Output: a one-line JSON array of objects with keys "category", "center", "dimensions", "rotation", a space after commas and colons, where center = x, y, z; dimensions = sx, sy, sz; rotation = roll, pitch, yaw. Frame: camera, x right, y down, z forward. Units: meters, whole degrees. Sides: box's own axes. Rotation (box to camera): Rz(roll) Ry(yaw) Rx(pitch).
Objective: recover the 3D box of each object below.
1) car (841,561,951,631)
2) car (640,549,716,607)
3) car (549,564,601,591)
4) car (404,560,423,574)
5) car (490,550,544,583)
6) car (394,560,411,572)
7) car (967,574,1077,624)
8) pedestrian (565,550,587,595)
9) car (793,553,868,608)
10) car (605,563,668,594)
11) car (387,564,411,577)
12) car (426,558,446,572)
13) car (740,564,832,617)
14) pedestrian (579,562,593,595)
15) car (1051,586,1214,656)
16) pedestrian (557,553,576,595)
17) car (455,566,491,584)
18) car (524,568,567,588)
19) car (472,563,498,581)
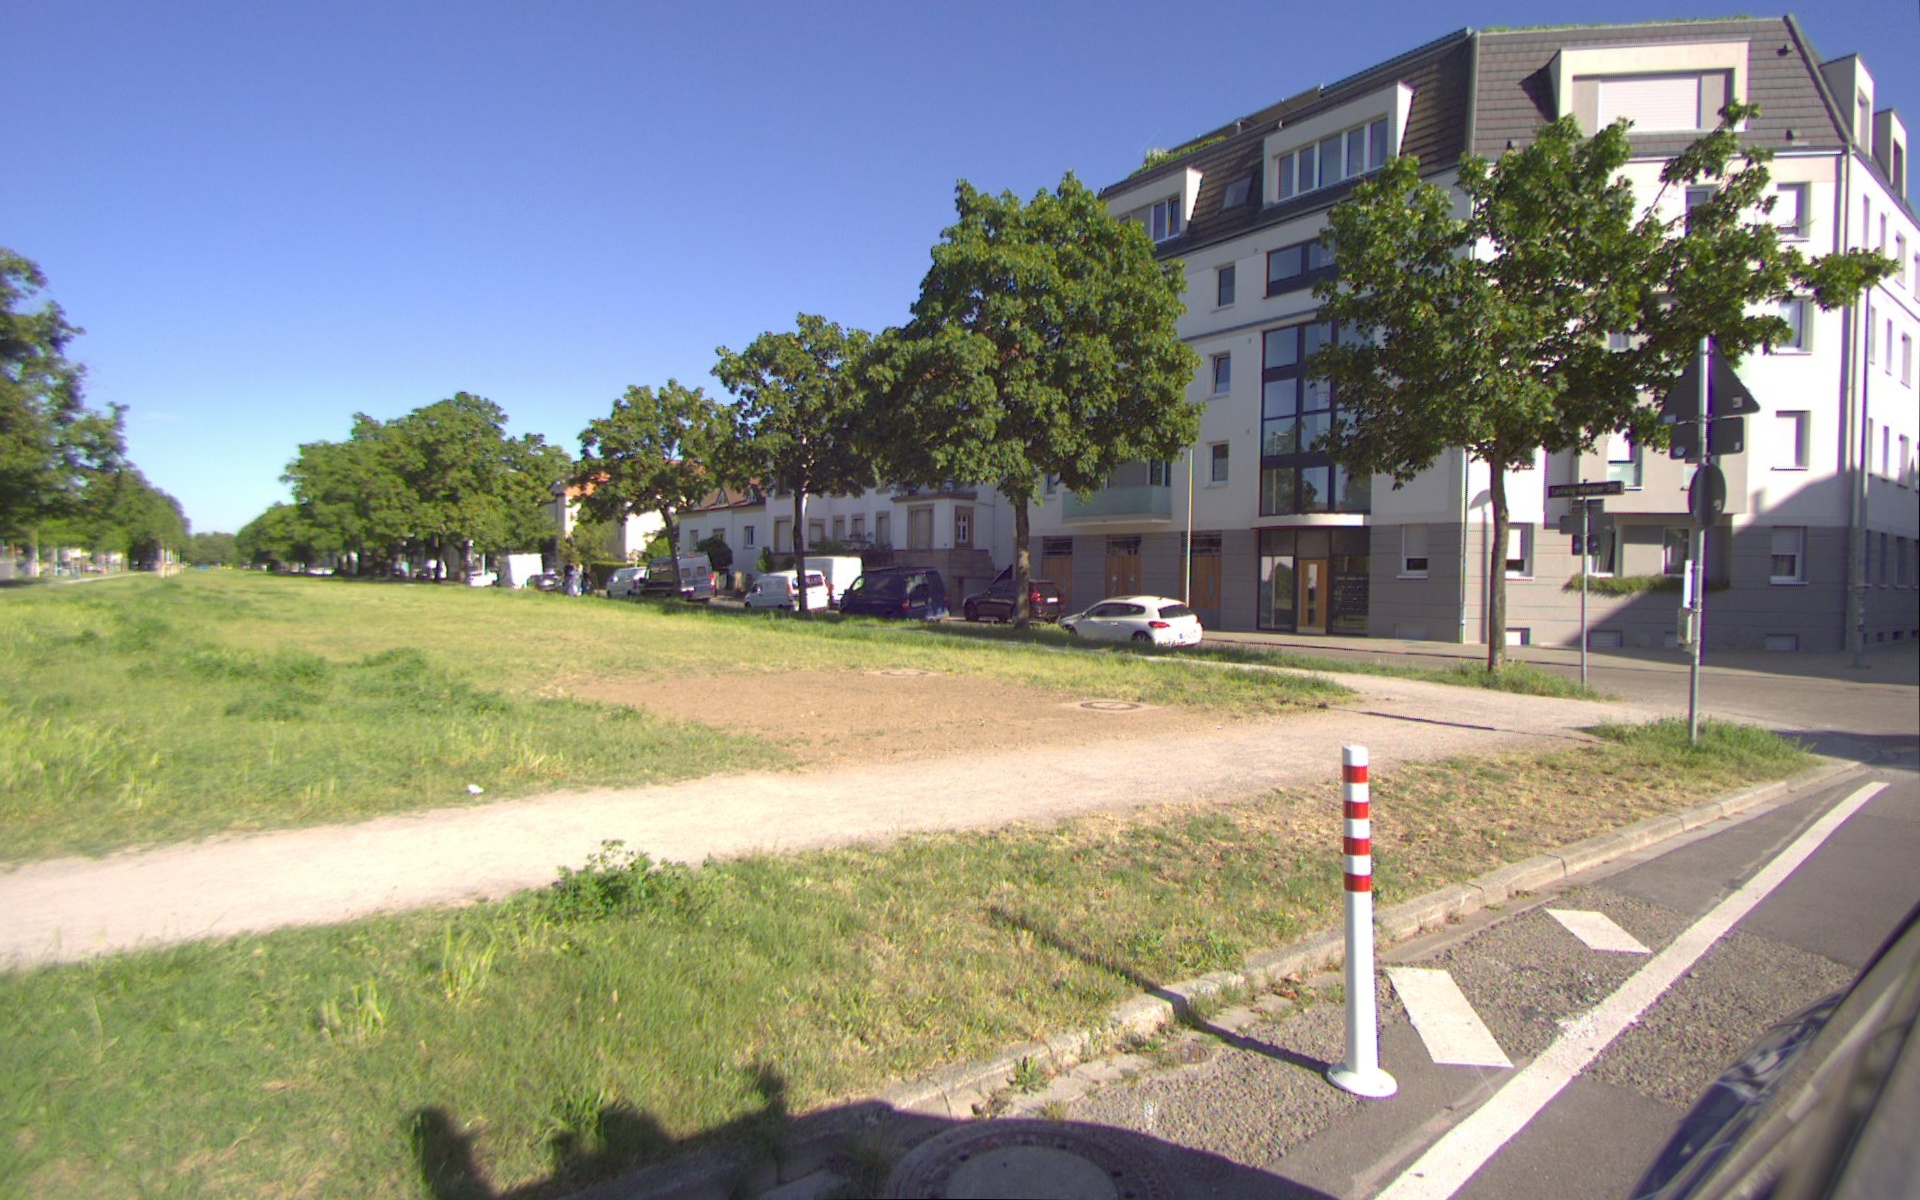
[{"category": "car", "center": [-2.206, -0.215, 34.091], "dimensions": [1.752, 2.108, 3.994], "rotation": [-5, 5, -36]}, {"category": "car", "center": [-14.006, -1.136, 50.053], "dimensions": [2.153, 2.615, 4.288], "rotation": [-5, 4, -36]}, {"category": "car", "center": [-24.627, -1.463, 64.642], "dimensions": [2.046, 1.618, 4.288], "rotation": [0, 2, -36]}, {"category": "car", "center": [-79.039, -4.803, 146.291], "dimensions": [1.831, 1.868, 3.994], "rotation": [0, 2, -36]}, {"category": "car", "center": [-33.266, -2.534, 75.888], "dimensions": [2.503, 2.363, 5.920], "rotation": [0, 2, -36]}, {"category": "car", "center": [-87.480, -5.352, 158.704], "dimensions": [1.831, 1.868, 3.994], "rotation": [0, 2, -36]}, {"category": "car", "center": [2.270, -0.106, 38.097], "dimensions": [1.861, 1.703, 4.289], "rotation": [-1, 3, -36]}, {"category": "pedestrian", "center": [-16.610, -1.198, 43.738], "dimensions": [0.711, 1.900, 0.629], "rotation": [1, 1, -38]}, {"category": "car", "center": [-6.406, -1.021, 49.769], "dimensions": [1.985, 2.580, 3.994], "rotation": [-1, 2, -36]}, {"category": "car", "center": [-17.849, -1.216, 55.741], "dimensions": [2.046, 1.618, 4.288], "rotation": [0, 2, -36]}, {"category": "car", "center": [-69.224, -3.676, 124.863], "dimensions": [2.042, 1.484, 4.728], "rotation": [0, 2, -36]}, {"category": "car", "center": [-70.556, -4.683, 136.165], "dimensions": [1.831, 1.868, 3.994], "rotation": [0, 2, -36]}, {"category": "car", "center": [-7.063, -0.449, 40.782], "dimensions": [1.842, 1.906, 4.424], "rotation": [-5, 5, -36]}, {"category": "pedestrian", "center": [-17.360, -1.001, 46.992], "dimensions": [0.487, 1.524, 0.535], "rotation": [1, 1, -37]}, {"category": "car", "center": [4.308, 0.470, 25.744], "dimensions": [1.709, 1.450, 3.993], "rotation": [-5, 5, -37]}, {"category": "pedestrian", "center": [-18.225, -1.198, 46.861], "dimensions": [0.632, 1.900, 0.629], "rotation": [0, 1, -38]}, {"category": "car", "center": [-42.557, -2.207, 88.401], "dimensions": [2.042, 1.484, 4.728], "rotation": [0, 2, -36]}, {"category": "car", "center": [-28.949, -1.545, 70.622], "dimensions": [1.898, 1.361, 4.110], "rotation": [0, 2, -36]}, {"category": "car", "center": [-50.702, -3.038, 107.986], "dimensions": [1.831, 1.868, 3.994], "rotation": [0, 2, -36]}]
